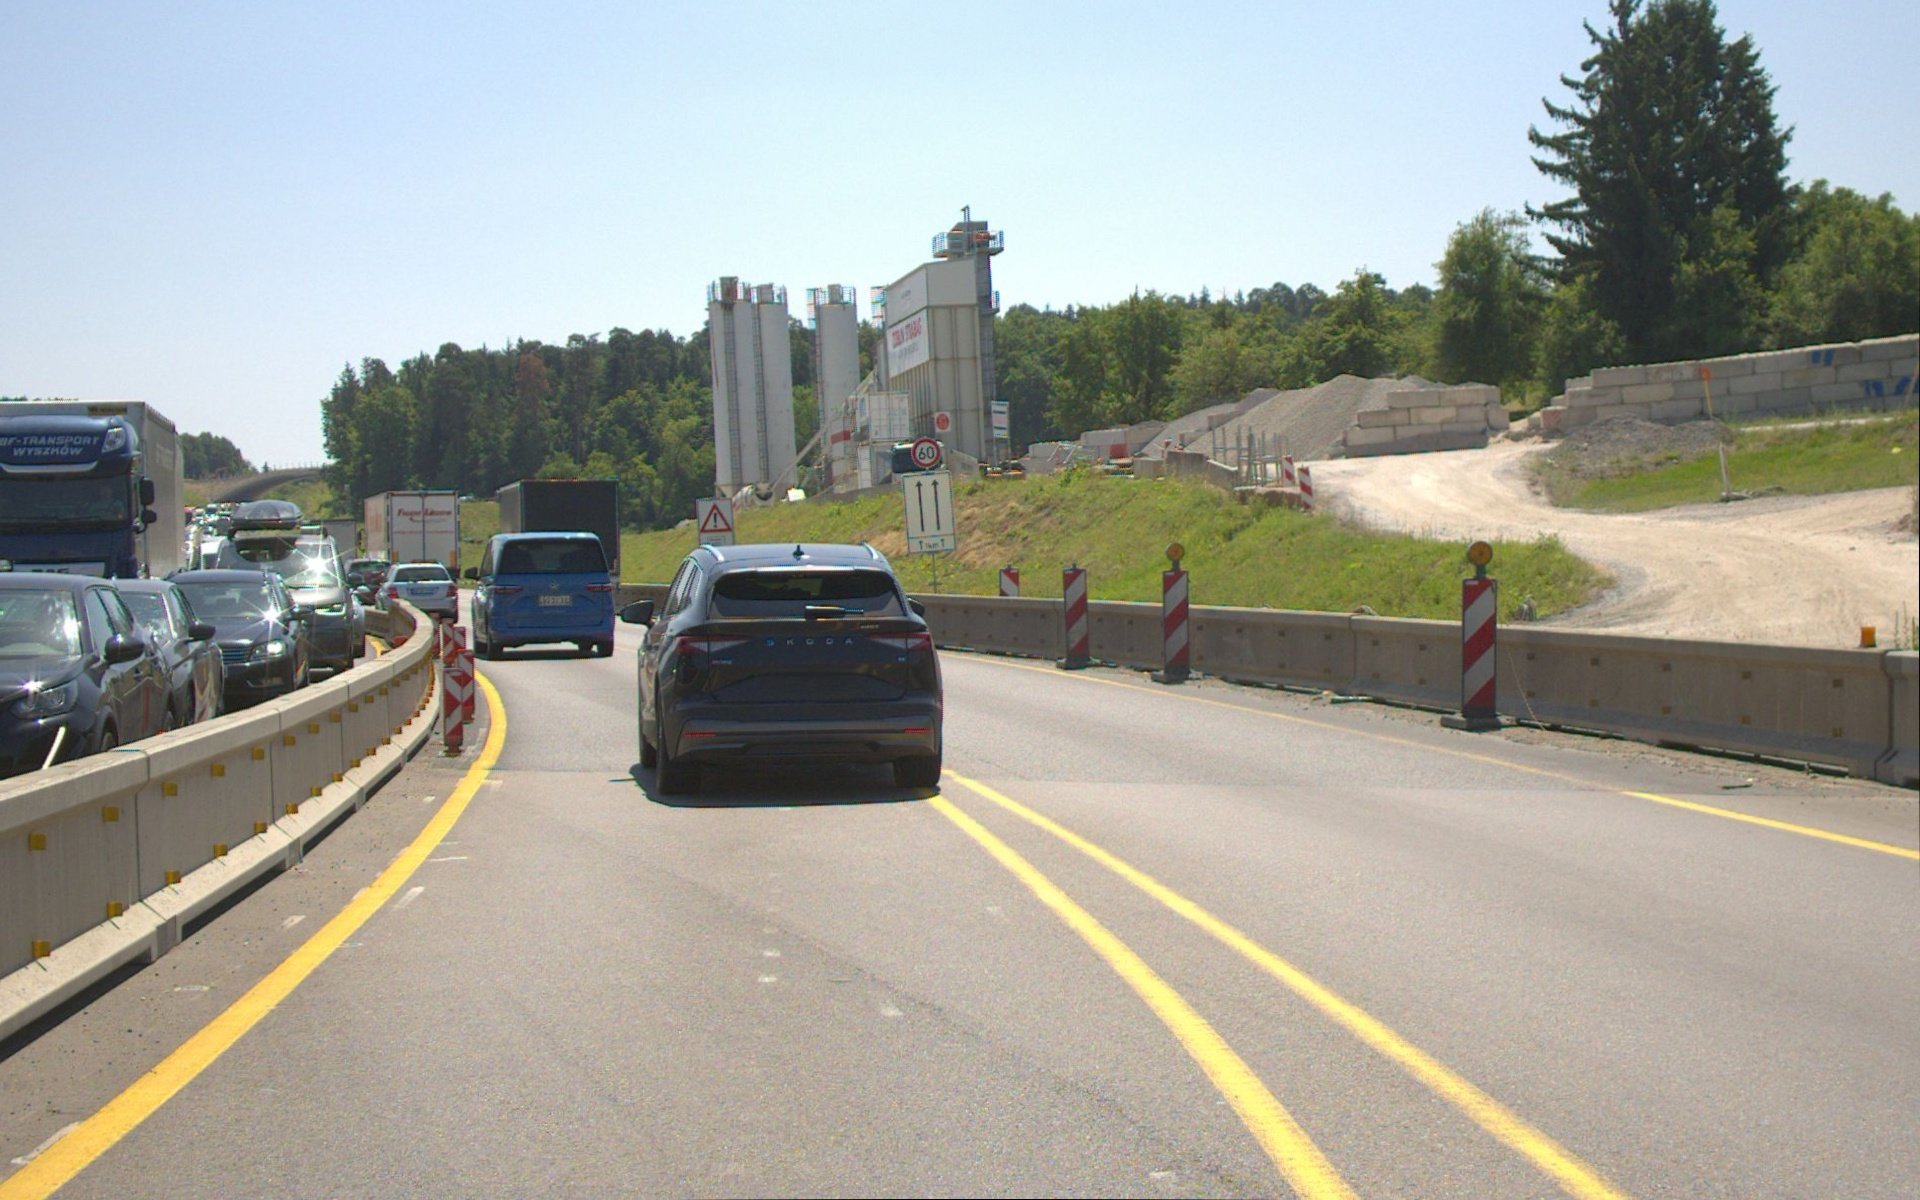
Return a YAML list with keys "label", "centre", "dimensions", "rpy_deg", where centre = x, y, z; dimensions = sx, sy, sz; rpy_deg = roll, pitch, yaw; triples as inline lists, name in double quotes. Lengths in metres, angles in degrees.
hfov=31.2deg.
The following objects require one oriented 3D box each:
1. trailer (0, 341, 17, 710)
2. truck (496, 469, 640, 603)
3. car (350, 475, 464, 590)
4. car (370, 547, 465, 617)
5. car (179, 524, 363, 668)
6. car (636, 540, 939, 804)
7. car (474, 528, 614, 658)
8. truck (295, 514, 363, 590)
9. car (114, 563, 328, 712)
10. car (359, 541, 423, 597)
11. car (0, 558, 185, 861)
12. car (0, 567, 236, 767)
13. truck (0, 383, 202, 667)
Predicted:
- label: "trailer"
  centre: [-10.978, -0.683, 31.855]
  dimensions: [2.704, 3.964, 11.247]
  rpy_deg: [-2, 1, -8]
- label: "truck"
  centre: [-9.423, -1.515, 82.171]
  dimensions: [2.672, 2.935, 5.622]
  rpy_deg: [-4, 1, -13]
- label: "car"
  centre: [-20.675, -2.530, 128.119]
  dimensions: [3.435, 4.087, 9.200]
  rpy_deg: [1, 1, -13]
- label: "car"
  centre: [-13.026, -0.455, 82.318]
  dimensions: [2.045, 1.521, 5.067]
  rpy_deg: [-3, 2, -10]
- label: "car"
  centre: [-9.098, -0.107, 45.759]
  dimensions: [2.045, 1.771, 5.067]
  rpy_deg: [-1, 1, -8]
- label: "car"
  centre: [-1.216, 0.407, 23.224]
  dimensions: [1.842, 1.576, 4.001]
  rpy_deg: [-1, 1, -4]
- label: "car"
  centre: [-6.410, -0.144, 52.737]
  dimensions: [1.993, 1.837, 4.001]
  rpy_deg: [-2, 2, -8]
- label: "truck"
  centre: [-36.771, -2.820, 200.129]
  dimensions: [3.474, 4.206, 10.380]
  rpy_deg: [-2, 1, -12]
- label: "car"
  centre: [-7.917, 0.356, 37.187]
  dimensions: [1.735, 1.441, 4.798]
  rpy_deg: [-2, 1, -6]
- label: "car"
  centre: [-17.334, -0.960, 104.929]
  dimensions: [1.820, 1.638, 3.866]
  rpy_deg: [-2, 1, -8]
- label: "car"
  centre: [-5.655, 0.559, 19.951]
  dimensions: [1.677, 1.539, 4.119]
  rpy_deg: [-1, 1, -5]
- label: "car"
  centre: [-6.976, 0.476, 27.713]
  dimensions: [1.735, 1.411, 4.798]
  rpy_deg: [-1, 1, -6]
- label: "truck"
  centre: [-14.309, -1.192, 56.123]
  dimensions: [2.772, 4.123, 10.873]
  rpy_deg: [-2, 1, -8]
